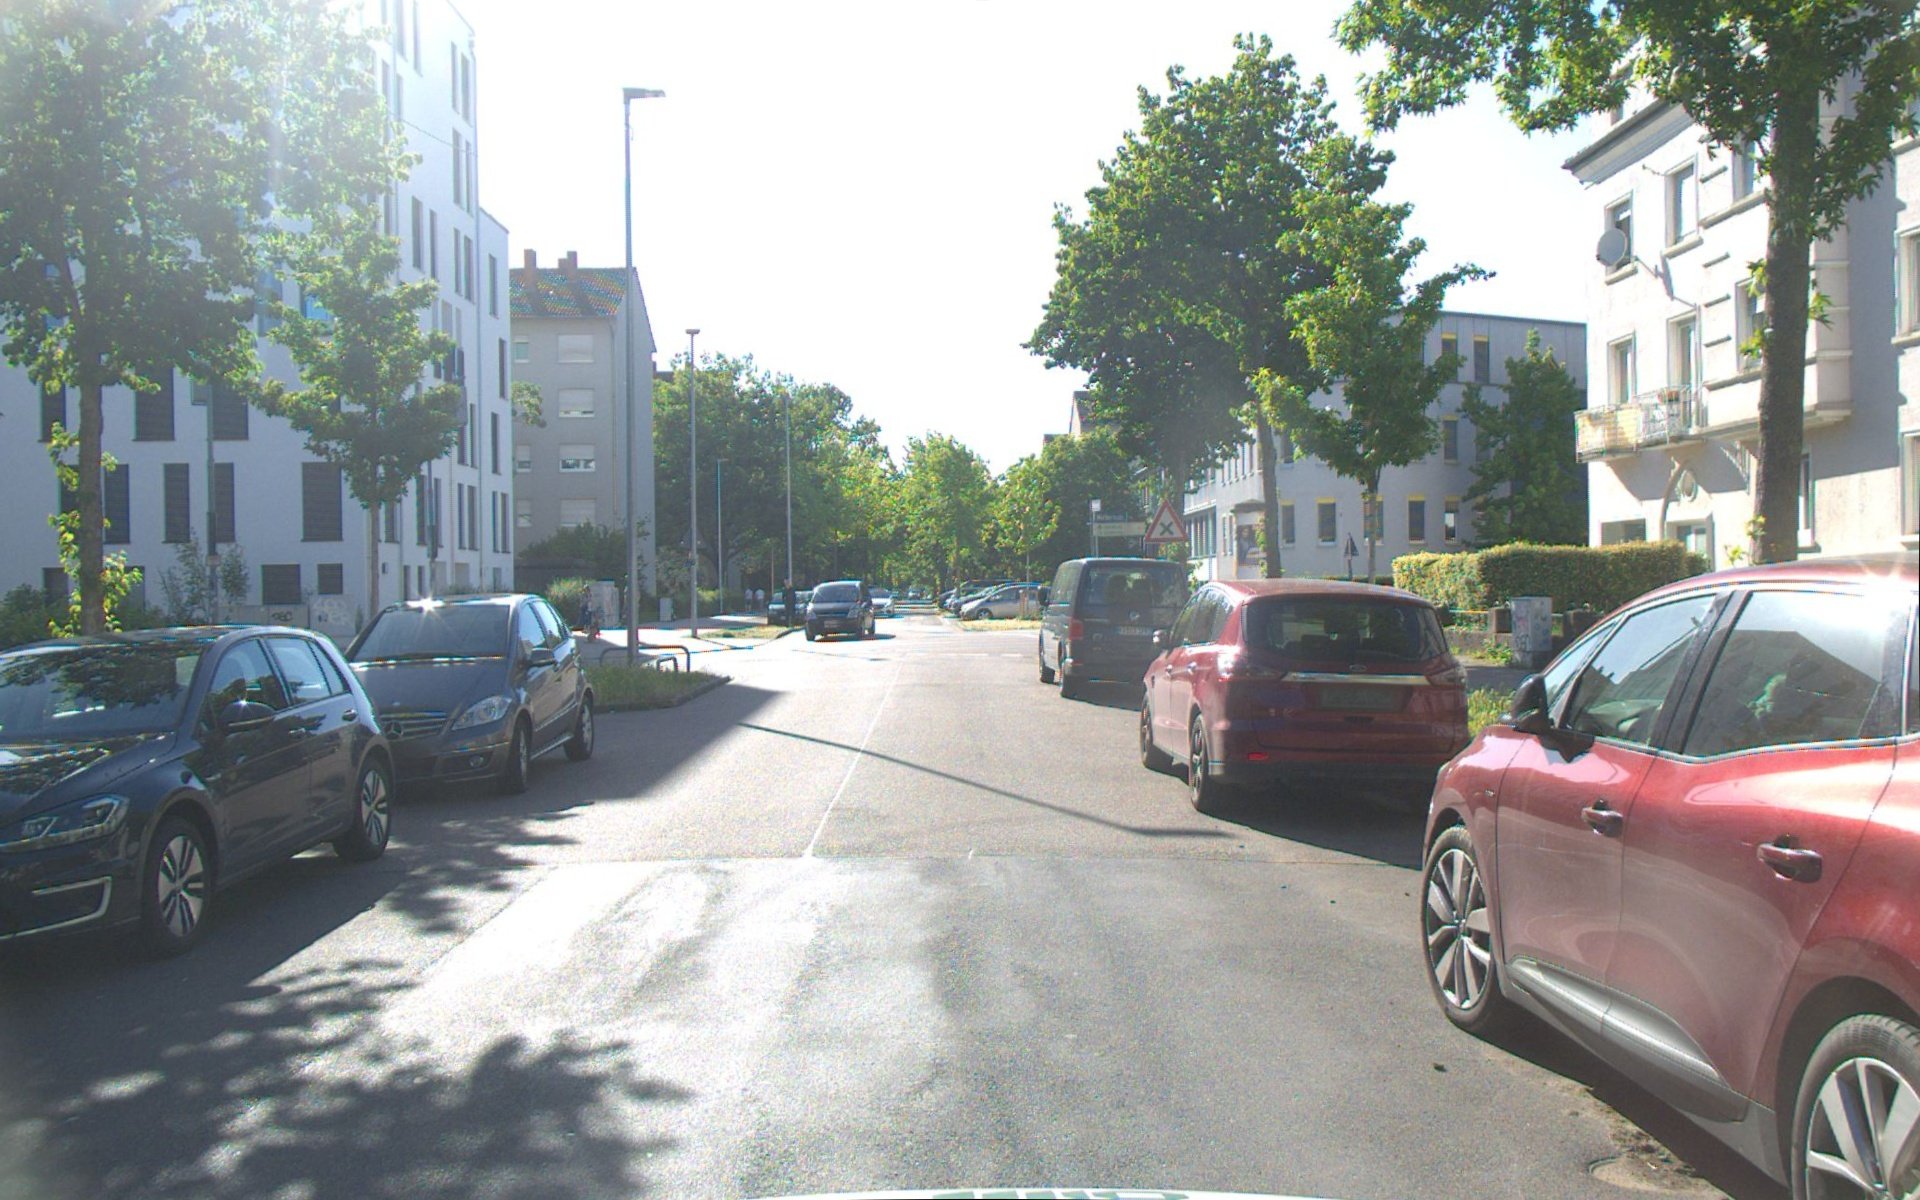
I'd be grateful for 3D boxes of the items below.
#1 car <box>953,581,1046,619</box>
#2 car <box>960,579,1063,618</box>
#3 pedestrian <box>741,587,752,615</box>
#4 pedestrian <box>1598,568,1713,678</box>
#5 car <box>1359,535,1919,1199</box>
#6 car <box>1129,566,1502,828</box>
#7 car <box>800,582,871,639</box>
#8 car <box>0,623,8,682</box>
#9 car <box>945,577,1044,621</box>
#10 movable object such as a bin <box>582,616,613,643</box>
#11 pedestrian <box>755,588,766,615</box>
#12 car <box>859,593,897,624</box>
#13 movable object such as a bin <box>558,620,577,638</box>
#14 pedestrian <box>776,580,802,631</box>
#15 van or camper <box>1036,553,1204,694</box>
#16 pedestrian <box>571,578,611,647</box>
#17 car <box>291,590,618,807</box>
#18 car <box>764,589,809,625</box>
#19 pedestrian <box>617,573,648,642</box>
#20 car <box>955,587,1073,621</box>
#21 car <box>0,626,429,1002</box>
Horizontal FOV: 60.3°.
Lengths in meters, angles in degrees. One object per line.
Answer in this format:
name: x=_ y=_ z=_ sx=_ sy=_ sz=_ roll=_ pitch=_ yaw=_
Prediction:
car: x=1.771 y=0.010 z=75.494 sx=4.120 sy=1.624 sz=1.999 roll=1 pitch=0 yaw=-3
car: x=2.082 y=-0.054 z=67.446 sx=4.008 sy=1.518 sz=1.727 roll=0 pitch=0 yaw=-5
pedestrian: x=-13.126 y=0.059 z=101.535 sx=0.622 sy=1.693 sz=0.698 roll=-1 pitch=0 yaw=-7
pedestrian: x=8.598 y=0.285 z=20.481 sx=1.060 sy=1.318 sz=0.818 roll=1 pitch=-1 yaw=-2
car: x=2.692 y=0.637 z=4.720 sx=1.891 sy=1.595 sz=4.593 roll=-3 pitch=0 yaw=-1
car: x=2.495 y=0.621 z=12.911 sx=1.860 sy=1.641 sz=4.972 roll=0 pitch=0 yaw=0
car: x=-3.556 y=0.305 z=47.845 sx=1.701 sy=1.557 sz=4.114 roll=1 pitch=0 yaw=0
car: x=-22.038 y=1.085 z=34.551 sx=4.470 sy=1.187 sz=1.994 roll=1 pitch=2 yaw=35
car: x=1.481 y=-0.037 z=72.666 sx=4.194 sy=1.795 sz=1.998 roll=1 pitch=0 yaw=-4
movable object such as a bin: x=-10.028 y=0.811 z=45.769 sx=0.267 sy=0.691 sz=0.844 roll=-1 pitch=1 yaw=41
pedestrian: x=-12.662 y=0.082 z=105.003 sx=0.622 sy=1.693 sz=0.698 roll=-1 pitch=0 yaw=-7
car: x=-4.207 y=0.437 z=85.037 sx=1.848 sy=1.531 sz=4.636 roll=2 pitch=0 yaw=-2
movable object such as a bin: x=-12.664 y=0.927 z=53.366 sx=0.266 sy=0.551 sz=0.686 roll=-1 pitch=0 yaw=19
pedestrian: x=-5.944 y=0.183 z=57.534 sx=0.853 sy=1.744 sz=0.978 roll=-1 pitch=0 yaw=-5
van or camper: x=2.311 y=0.331 z=25.282 sx=1.949 sy=1.895 sz=5.386 roll=1 pitch=0 yaw=-1
pedestrian: x=-11.834 y=0.380 z=52.997 sx=0.762 sy=2.157 sz=0.953 roll=0 pitch=2 yaw=42
car: x=-4.279 y=0.756 z=14.665 sx=1.685 sy=1.590 sz=4.107 roll=-2 pitch=0 yaw=-2
car: x=-7.199 y=0.299 z=68.835 sx=1.634 sy=1.445 sz=3.997 roll=1 pitch=0 yaw=-3
pedestrian: x=-9.209 y=0.216 z=46.510 sx=0.829 sy=1.918 sz=0.789 roll=1 pitch=-1 yaw=-12
car: x=2.251 y=0.165 z=69.489 sx=4.775 sy=1.296 sz=1.727 roll=-2 pitch=0 yaw=-6
car: x=-4.190 y=0.885 z=8.606 sx=1.626 sy=1.419 sz=4.090 roll=1 pitch=0 yaw=-2
